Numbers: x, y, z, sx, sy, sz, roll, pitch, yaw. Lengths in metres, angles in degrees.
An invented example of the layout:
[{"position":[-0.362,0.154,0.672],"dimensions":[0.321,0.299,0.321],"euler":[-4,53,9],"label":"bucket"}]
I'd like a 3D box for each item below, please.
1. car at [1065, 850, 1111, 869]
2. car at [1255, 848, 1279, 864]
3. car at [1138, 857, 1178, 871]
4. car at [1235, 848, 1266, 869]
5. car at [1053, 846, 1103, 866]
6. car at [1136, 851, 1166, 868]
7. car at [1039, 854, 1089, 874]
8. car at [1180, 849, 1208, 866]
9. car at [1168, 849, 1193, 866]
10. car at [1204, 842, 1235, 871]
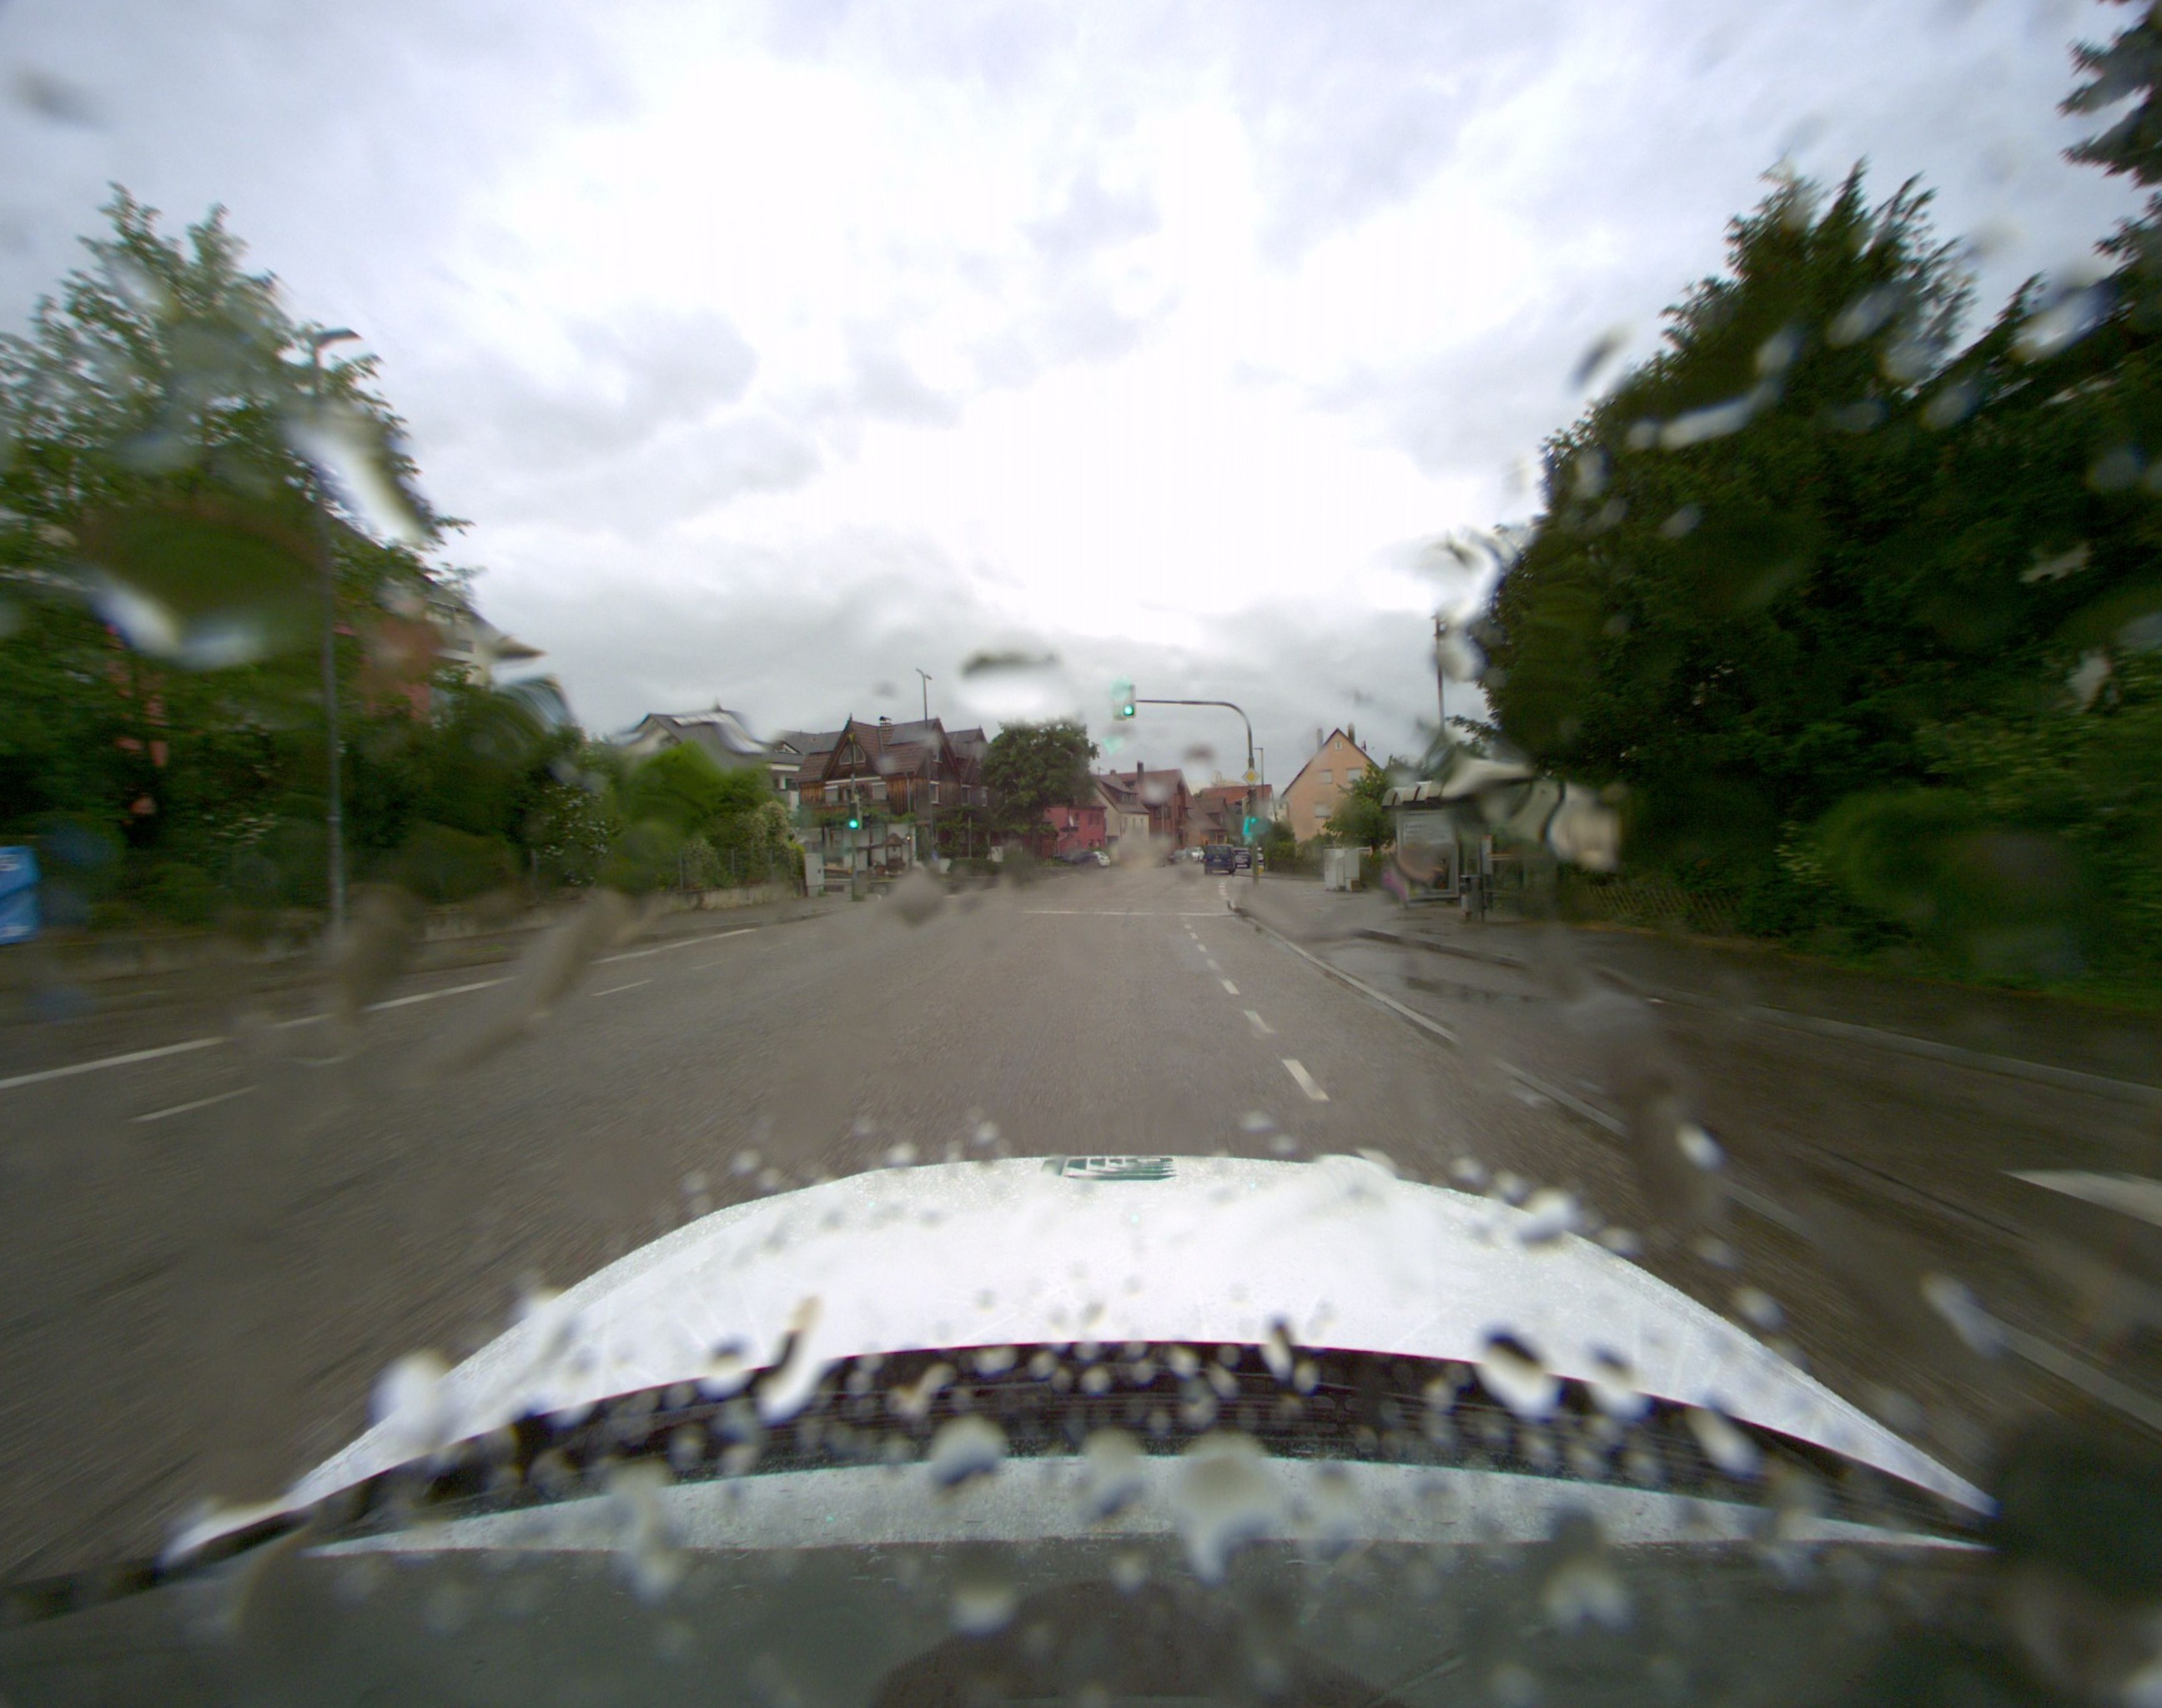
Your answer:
[{"position":[0.605,0.475,67.827],"dimensions":[3.430,1.479,1.599],"euler":[-2,0,23],"label":"car"},{"position":[18.215,0.185,79.474],"dimensions":[1.788,1.595,4.634],"euler":[0,0,19],"label":"car"},{"position":[8.791,1.107,93.124],"dimensions":[4.132,1.403,1.800],"euler":[-2,-1,28],"label":"car"},{"position":[14.602,0.337,70.110],"dimensions":[1.892,1.717,4.580],"euler":[0,1,21],"label":"car"},{"position":[-0.266,0.160,65.609],"dimensions":[3.543,1.506,1.866],"euler":[1,1,25],"label":"car"},{"position":[6.164,0.464,71.232],"dimensions":[1.613,1.355,4.131],"euler":[0,1,20],"label":"car"},{"position":[-1.318,0.779,63.199],"dimensions":[3.415,1.418,1.641],"euler":[-2,0,23],"label":"car"},{"position":[11.890,0.342,85.337],"dimensions":[1.749,1.619,4.681],"euler":[-2,0,21],"label":"car"},{"position":[9.925,0.328,80.875],"dimensions":[1.591,1.617,3.294],"euler":[-2,0,22],"label":"car"},{"position":[9.487,0.135,55.637],"dimensions":[1.918,1.902,4.809],"euler":[0,0,12],"label":"car"}]
